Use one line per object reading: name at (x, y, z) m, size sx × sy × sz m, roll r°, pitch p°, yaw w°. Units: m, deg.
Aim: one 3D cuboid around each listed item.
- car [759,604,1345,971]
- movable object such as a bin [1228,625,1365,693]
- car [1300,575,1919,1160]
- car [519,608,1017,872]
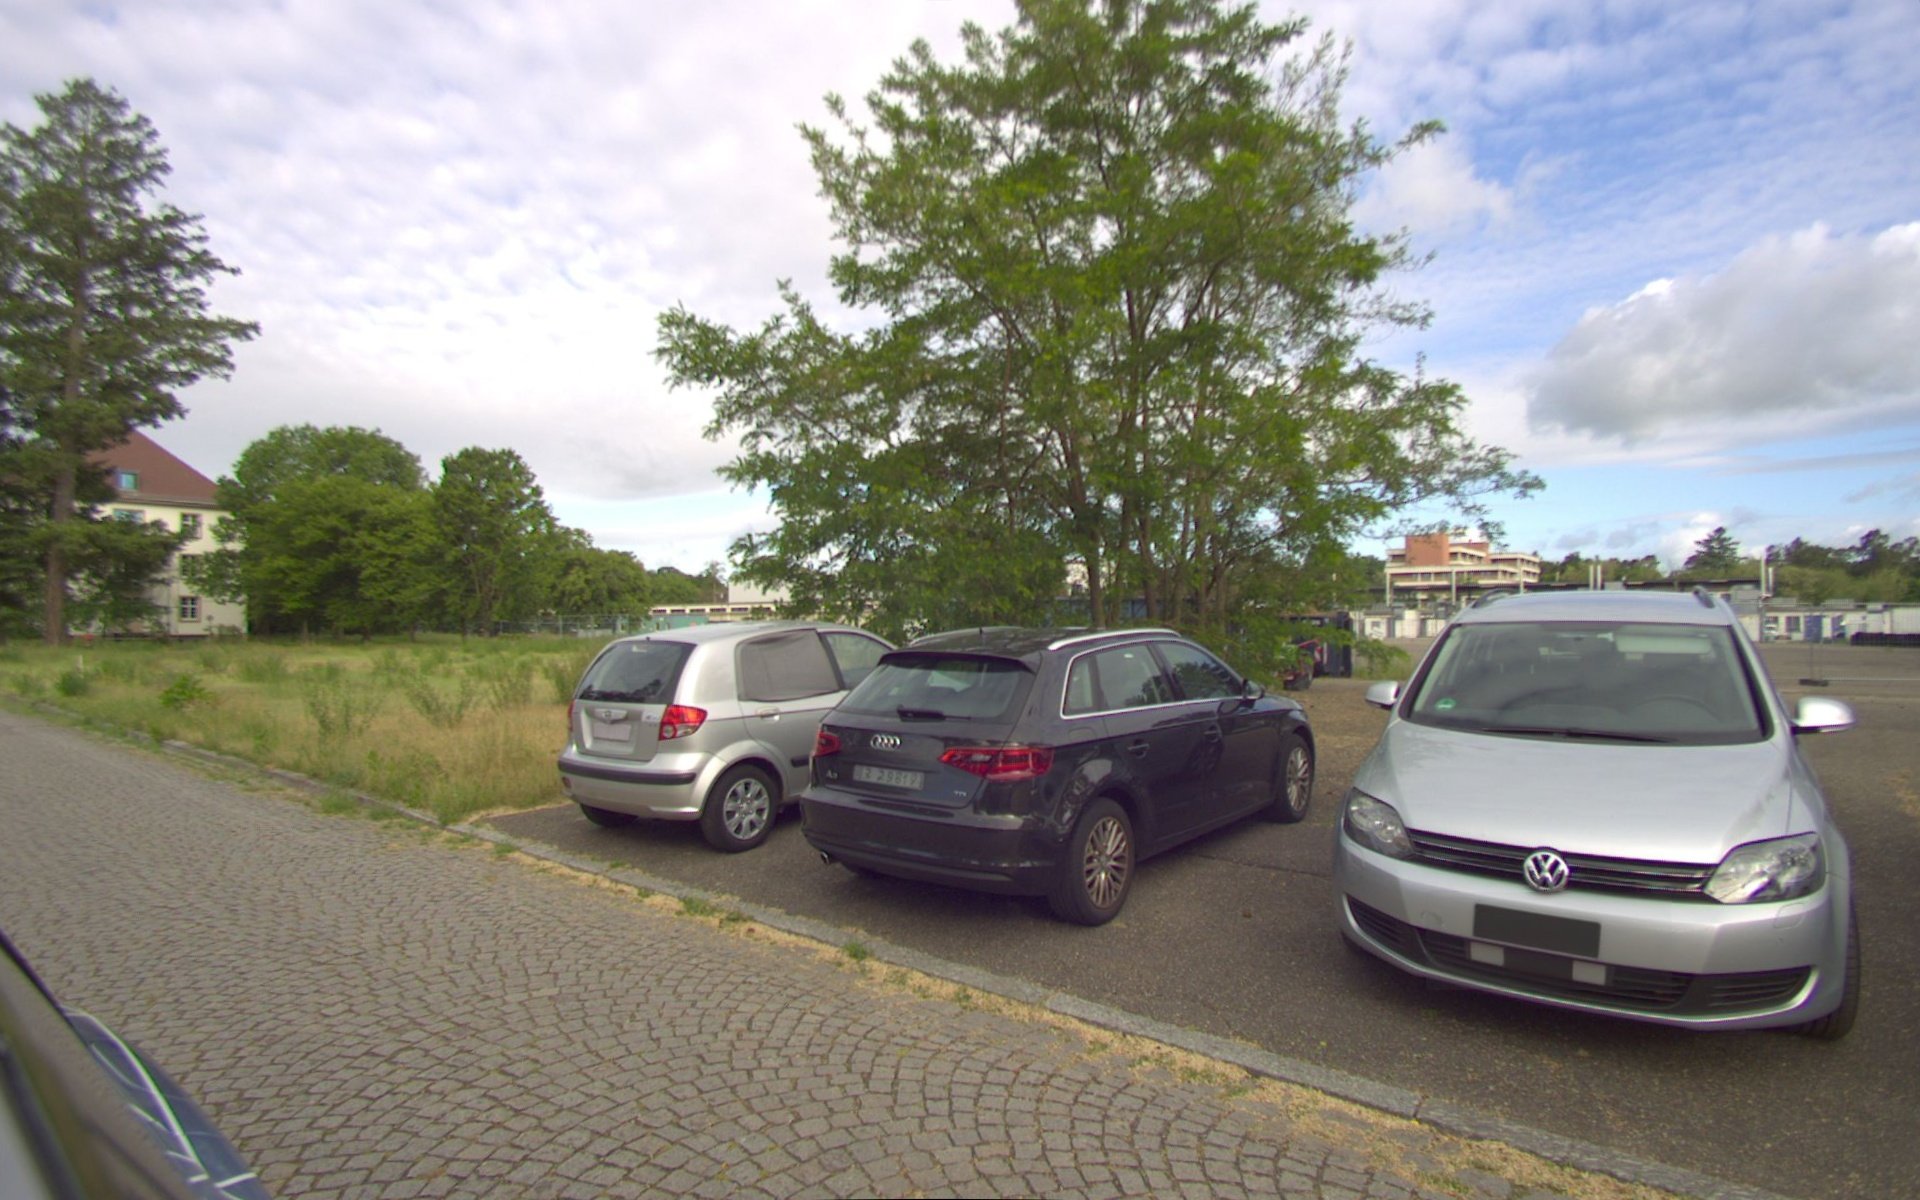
car at (0.861, 0.816, 6.367) m, size 1.749 × 1.438 × 3.948 m, roll -2°, pitch 0°, yaw 39°
movable object such as a bin at (6.286, 1.062, 18.849) m, size 2.364 × 1.170 × 1.501 m, roll 1°, pitch -2°, yaw -45°
car at (3.094, 0.696, 4.768) m, size 1.721 × 1.559 × 3.952 m, roll -2°, pitch 0°, yaw 36°
car at (-1.300, 0.868, 8.067) m, size 1.805 × 1.463 × 3.646 m, roll -2°, pitch 0°, yaw 36°
